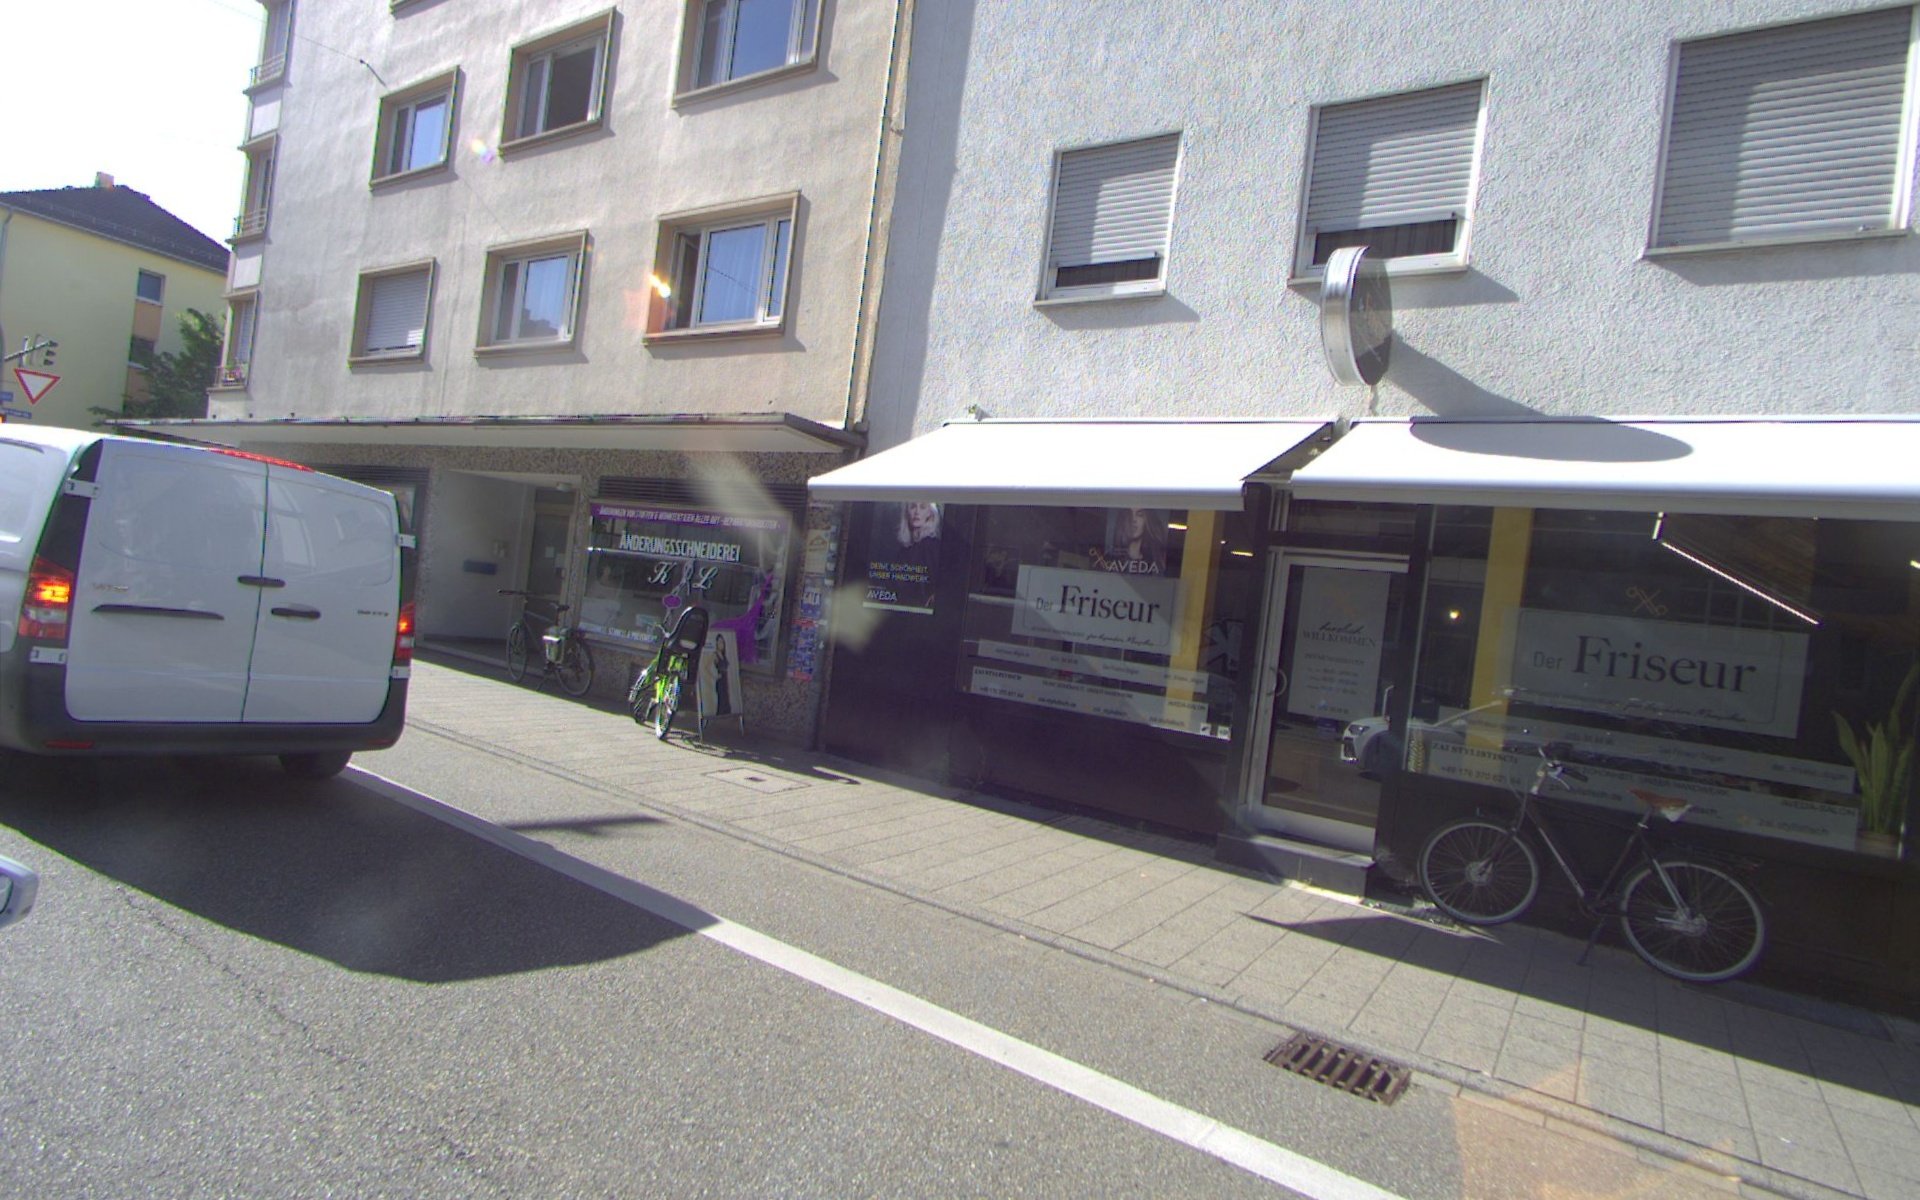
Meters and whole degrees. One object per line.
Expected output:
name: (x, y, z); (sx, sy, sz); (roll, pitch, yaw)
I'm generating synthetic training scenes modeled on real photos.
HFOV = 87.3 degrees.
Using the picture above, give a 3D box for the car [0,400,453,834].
car: (-5.599, -0.070, 6.480); (4.916, 1.890, 1.839); (7, -2, 34)

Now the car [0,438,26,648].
car: (-11.649, -0.856, 10.331); (4.819, 2.003, 1.995); (7, -1, 36)

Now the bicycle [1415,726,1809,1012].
bicycle: (3.727, 1.485, 5.896); (1.764, 1.192, 0.401); (7, 0, 35)

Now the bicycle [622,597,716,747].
bicycle: (-2.933, 0.669, 10.031); (0.434, 1.266, 1.747); (5, 2, -28)

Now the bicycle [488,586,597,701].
bicycle: (-4.939, 0.488, 11.843); (1.703, 1.149, 0.400); (7, 0, 43)
